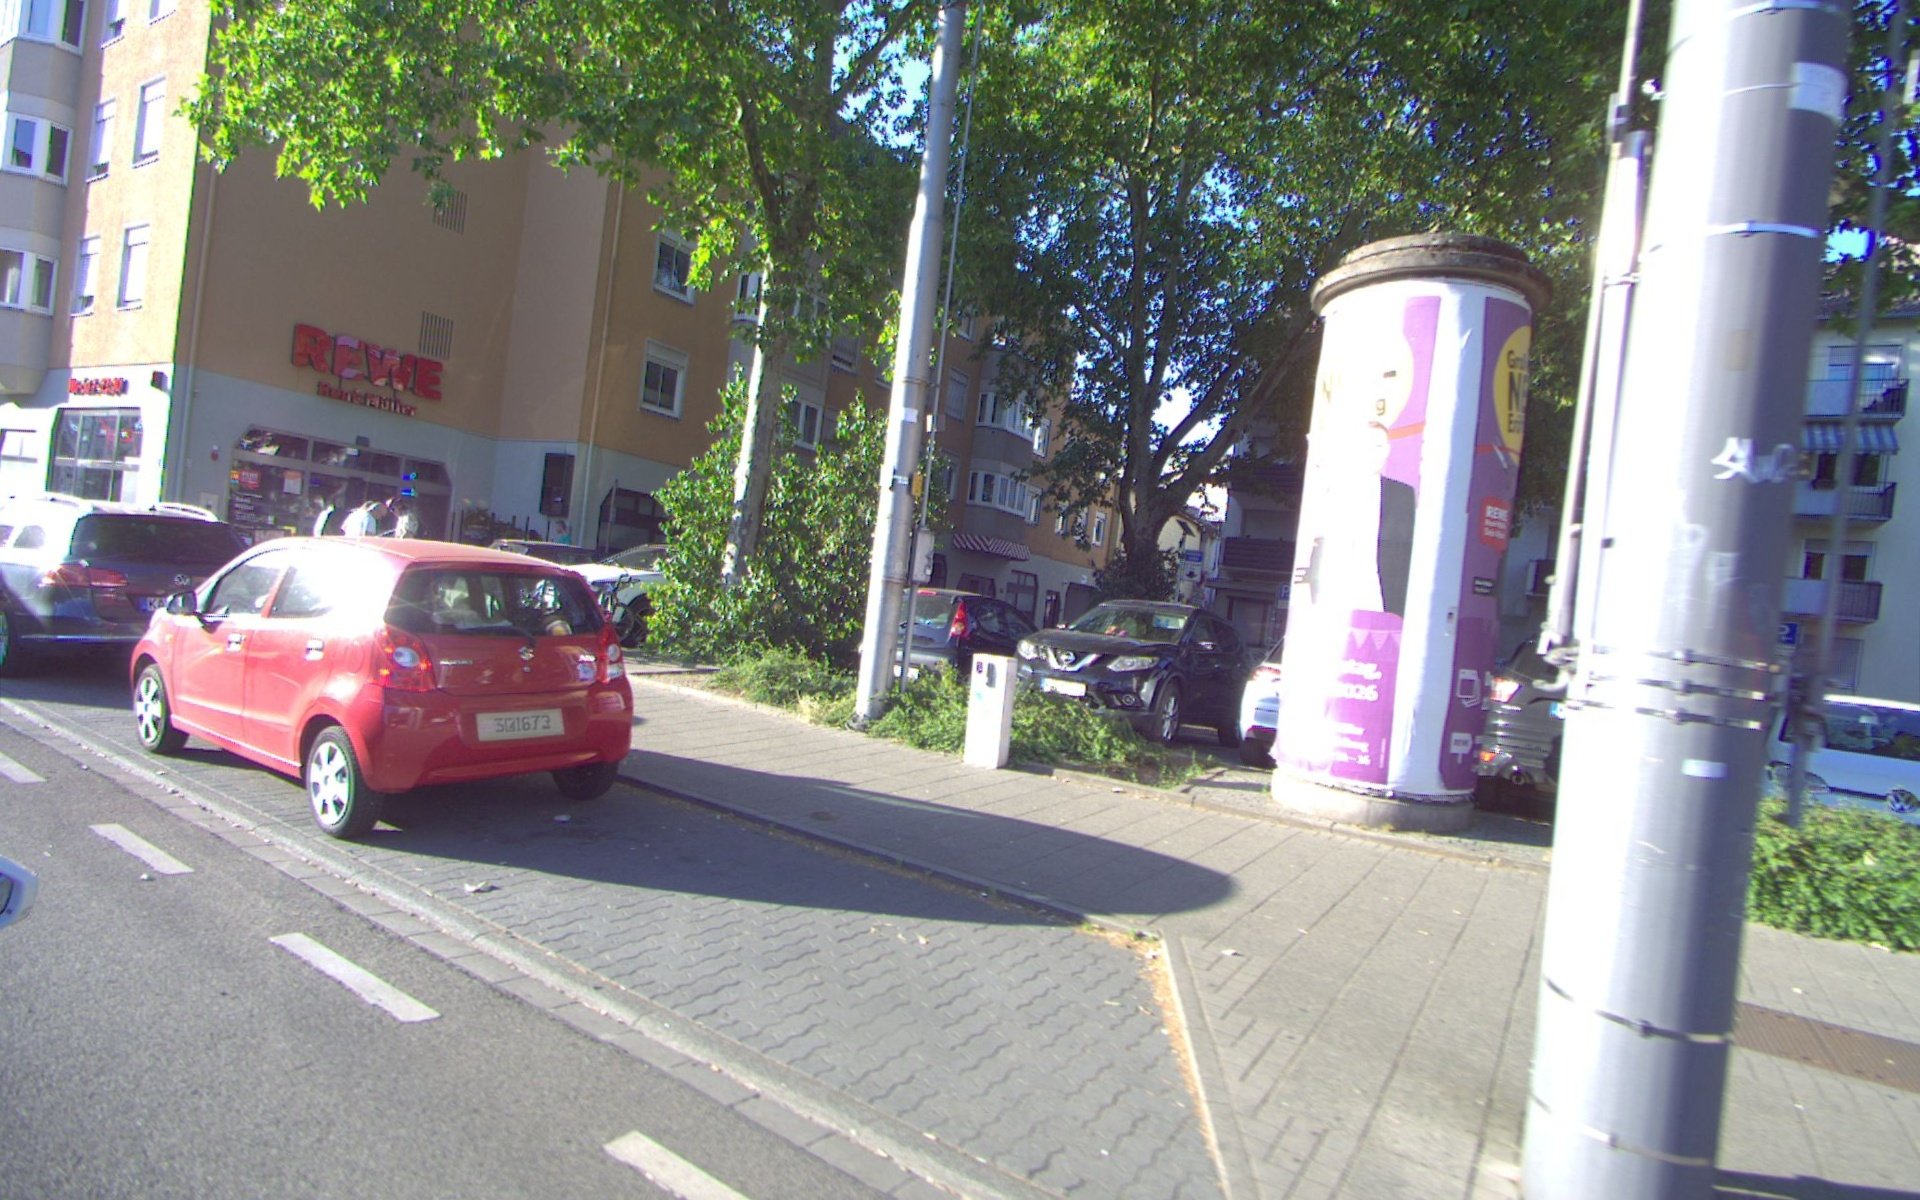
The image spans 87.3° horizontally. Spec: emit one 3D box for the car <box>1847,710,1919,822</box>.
[{"bbox_3d":[15.985,2.708,15.968,1.967,1.553,4.287,7,0,31],"label":"car"}]

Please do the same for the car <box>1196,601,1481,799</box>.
[{"bbox_3d":[4.148,1.085,10.621,1.827,1.511,3.847,7,-3,34],"label":"car"}]

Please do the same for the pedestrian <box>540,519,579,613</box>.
[{"bbox_3d":[-8.375,-0.705,21.050,0.466,1.905,0.574,6,1,-7],"label":"pedestrian"}]

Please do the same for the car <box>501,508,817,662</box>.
[{"bbox_3d":[-4.672,-0.132,16.374,1.967,1.727,4.629,7,-3,32],"label":"car"}]

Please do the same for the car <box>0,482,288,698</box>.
[{"bbox_3d":[-8.284,-0.250,9.309,4.576,1.551,1.696,7,3,32],"label":"car"}]

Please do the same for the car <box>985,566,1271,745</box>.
[{"bbox_3d":[2.196,0.775,12.077,1.826,1.618,4.031,7,-3,32],"label":"car"}]

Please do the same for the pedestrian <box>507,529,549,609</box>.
[{"bbox_3d":[-8.944,-0.626,20.857,0.413,1.587,0.639,6,1,4],"label":"pedestrian"}]

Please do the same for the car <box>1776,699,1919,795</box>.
[{"bbox_3d":[18.329,2.938,20.567,1.786,1.514,3.876,7,0,30],"label":"car"}]

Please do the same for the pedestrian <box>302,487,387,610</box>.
[{"bbox_3d":[-9.435,-0.778,15.428,0.756,1.776,0.805,8,5,34],"label":"pedestrian"}]

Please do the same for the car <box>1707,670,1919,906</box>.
[{"bbox_3d":[7.589,1.553,8.431,1.774,1.453,3.846,9,-1,34],"label":"car"}]

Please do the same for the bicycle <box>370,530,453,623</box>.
[{"bbox_3d":[-7.930,-0.323,14.597,0.396,1.242,1.519,6,0,-6],"label":"bicycle"}]

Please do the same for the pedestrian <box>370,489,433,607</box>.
[{"bbox_3d":[-8.938,-0.820,16.093,0.639,1.807,0.528,8,5,26],"label":"pedestrian"}]

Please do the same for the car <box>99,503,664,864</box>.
[{"bbox_3d":[-3.700,0.322,6.248,3.568,1.514,1.569,7,2,34],"label":"car"}]

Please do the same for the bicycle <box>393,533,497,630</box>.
[{"bbox_3d":[-7.257,-0.249,14.267,0.639,1.242,1.581,6,0,-4],"label":"bicycle"}]

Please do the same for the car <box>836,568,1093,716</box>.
[{"bbox_3d":[0.186,0.642,13.603,1.744,1.499,3.506,7,-3,32],"label":"car"}]

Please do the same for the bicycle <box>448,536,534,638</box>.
[{"bbox_3d":[-6.346,-0.178,13.686,0.637,1.242,1.578,6,0,-13],"label":"bicycle"}]

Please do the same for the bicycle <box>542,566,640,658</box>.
[{"bbox_3d":[-4.647,0.140,12.793,0.639,1.026,1.678,6,0,-4],"label":"bicycle"}]

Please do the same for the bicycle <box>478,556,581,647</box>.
[{"bbox_3d":[-5.474,0.016,12.900,0.639,1.026,1.581,6,0,-4],"label":"bicycle"}]

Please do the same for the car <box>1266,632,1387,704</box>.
[{"bbox_3d":[9.749,1.816,26.579,1.968,1.553,4.052,7,0,34],"label":"car"}]

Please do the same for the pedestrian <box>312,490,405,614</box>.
[{"bbox_3d":[-8.646,-0.680,14.459,0.973,1.659,0.659,8,4,26],"label":"pedestrian"}]

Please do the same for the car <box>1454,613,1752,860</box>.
[{"bbox_3d":[6.082,1.225,9.556,1.827,1.650,3.845,7,-2,34],"label":"car"}]

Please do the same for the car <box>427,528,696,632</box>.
[{"bbox_3d":[-6.971,-0.299,17.987,1.968,1.449,4.018,3,-2,32],"label":"car"}]
